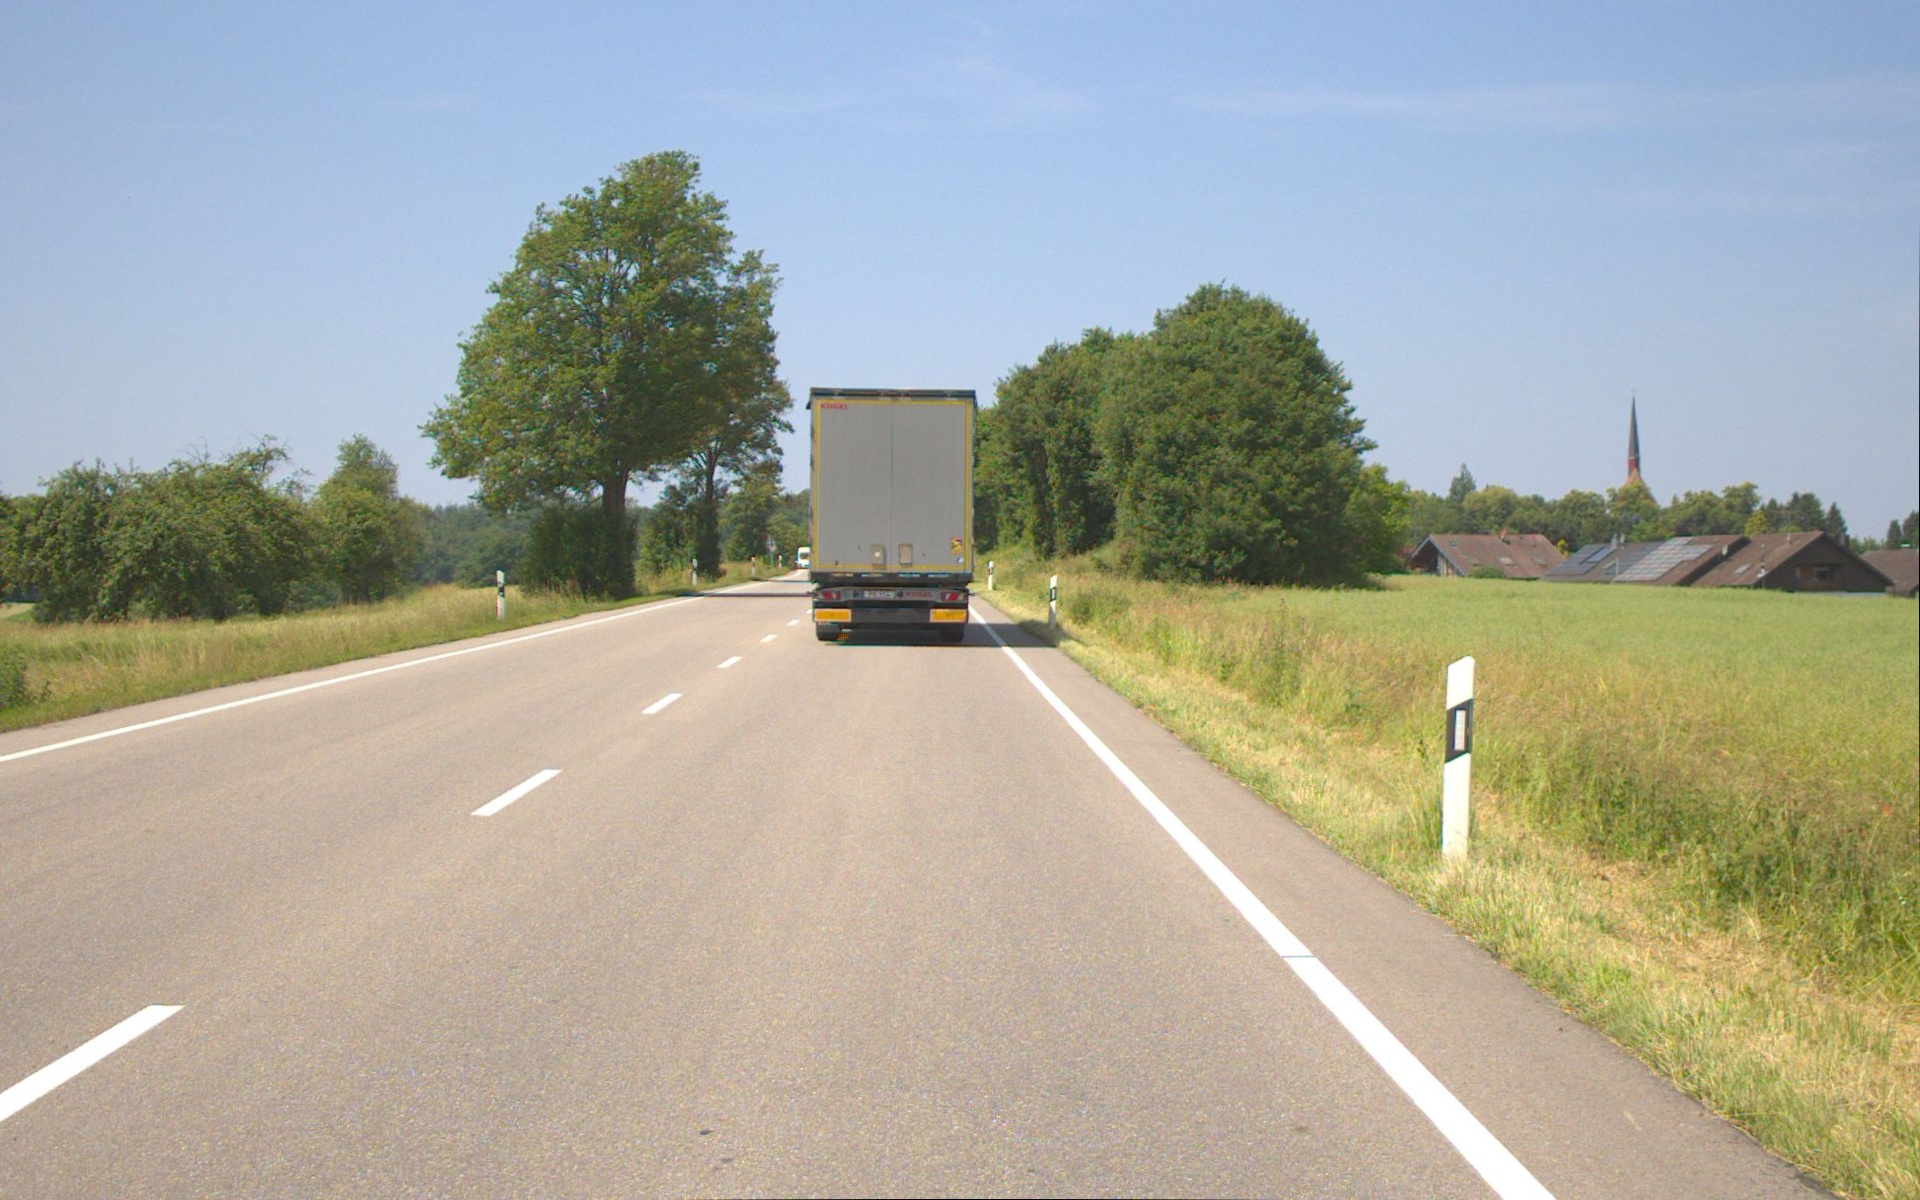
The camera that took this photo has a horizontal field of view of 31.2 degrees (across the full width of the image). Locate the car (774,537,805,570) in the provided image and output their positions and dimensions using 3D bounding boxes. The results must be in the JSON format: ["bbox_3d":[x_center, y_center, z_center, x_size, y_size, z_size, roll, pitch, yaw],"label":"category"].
[{"bbox_3d":[-10.701,-2.917,215.852,1.873,2.007,4.075,2,1,-2],"label":"car"}]

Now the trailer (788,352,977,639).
[{"bbox_3d":[-1.334,-1.717,59.441,2.867,4.385,13.494,0,1,-1],"label":"trailer"}]
